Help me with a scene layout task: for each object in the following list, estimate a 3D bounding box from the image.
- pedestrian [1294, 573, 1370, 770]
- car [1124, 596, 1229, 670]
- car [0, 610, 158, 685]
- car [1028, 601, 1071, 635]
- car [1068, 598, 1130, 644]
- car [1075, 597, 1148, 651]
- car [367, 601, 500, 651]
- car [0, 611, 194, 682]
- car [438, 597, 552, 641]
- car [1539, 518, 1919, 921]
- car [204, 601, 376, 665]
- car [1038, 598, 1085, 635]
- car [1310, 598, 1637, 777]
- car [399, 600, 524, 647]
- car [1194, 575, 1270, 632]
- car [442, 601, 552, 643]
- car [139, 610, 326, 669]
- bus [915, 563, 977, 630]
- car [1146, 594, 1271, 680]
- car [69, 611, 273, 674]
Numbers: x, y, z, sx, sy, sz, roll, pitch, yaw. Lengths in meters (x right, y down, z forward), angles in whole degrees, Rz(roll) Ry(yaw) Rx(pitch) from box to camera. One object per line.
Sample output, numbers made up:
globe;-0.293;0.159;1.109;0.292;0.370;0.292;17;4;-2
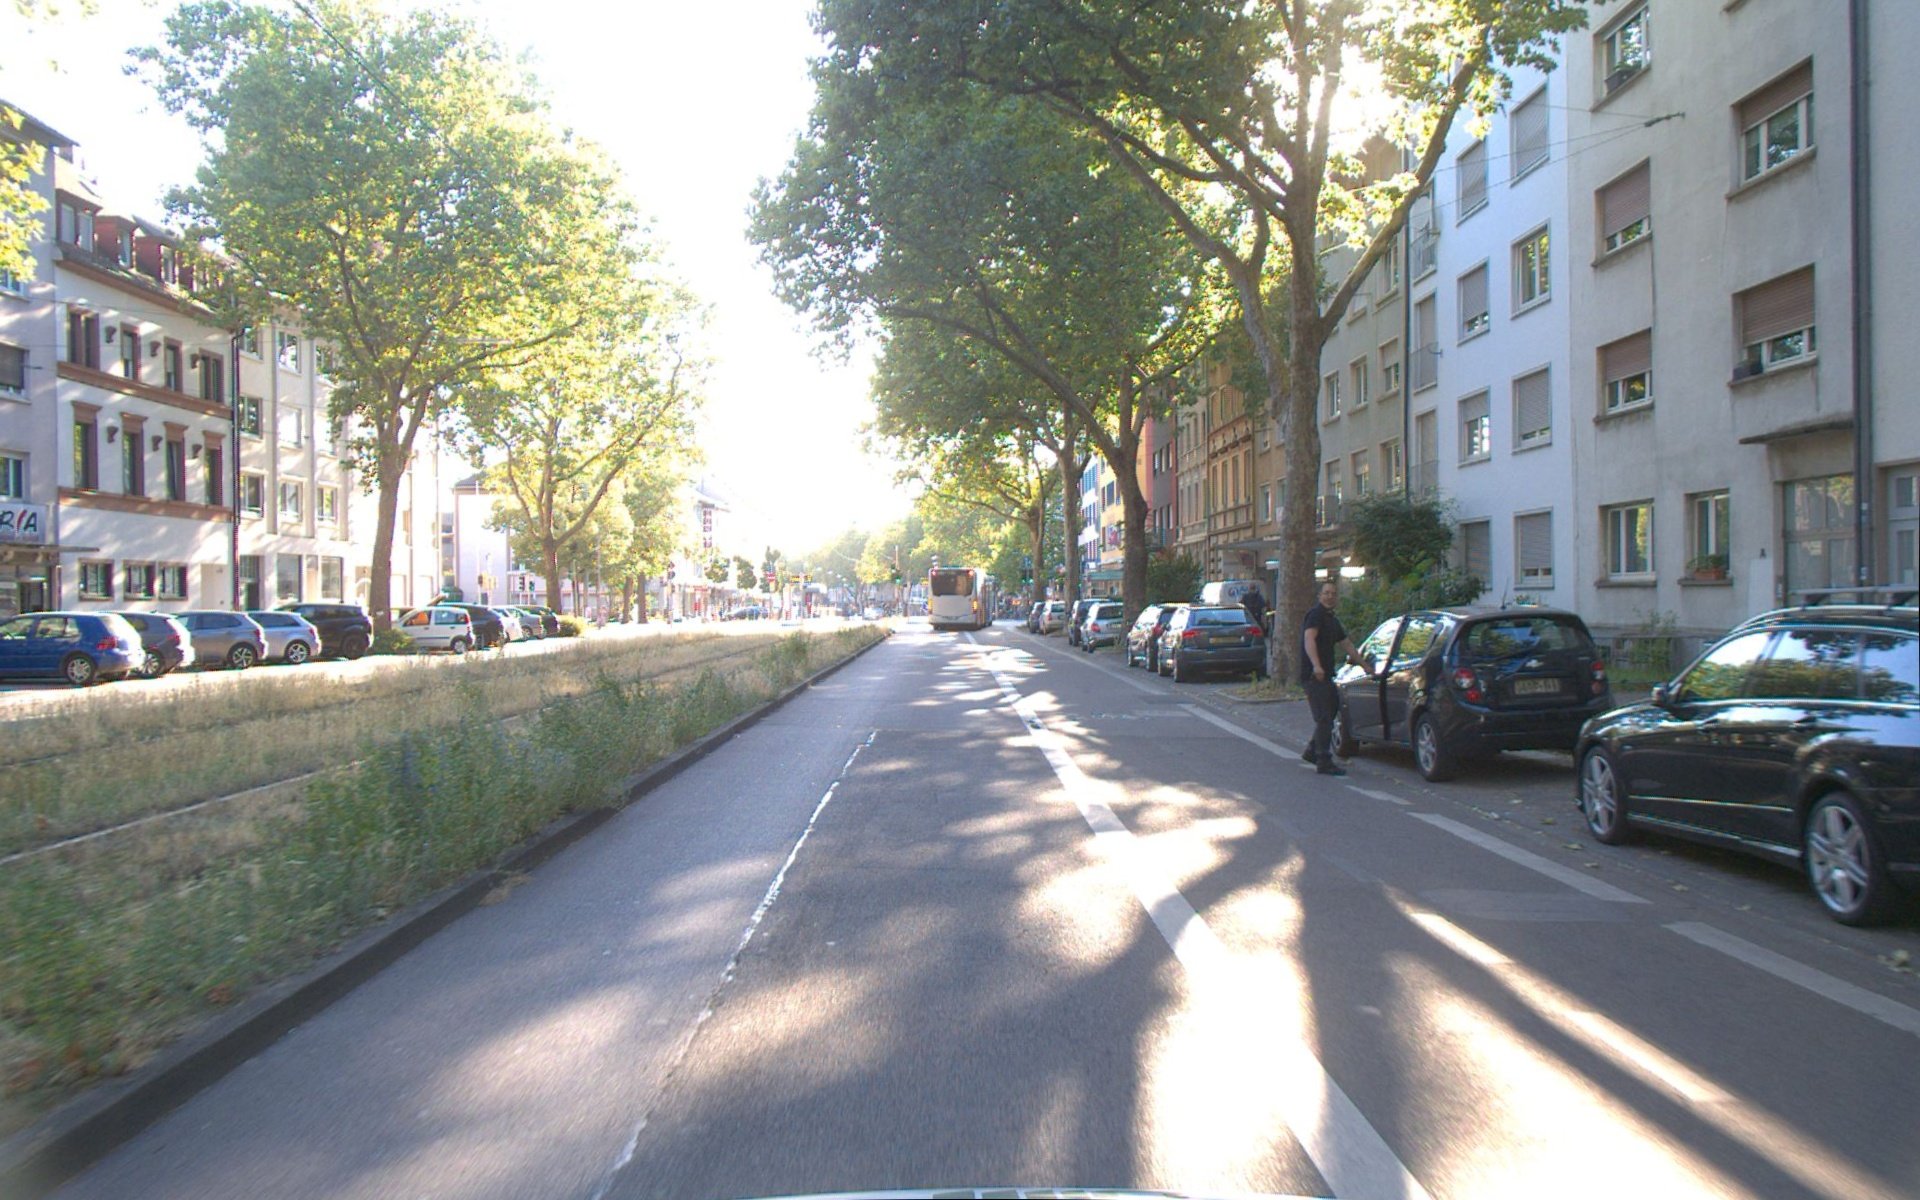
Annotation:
pedestrian;3.497;0.661;15.583;0.565;1.811;0.514;-1;0;-1
car;4.765;0.694;36.940;1.745;1.542;3.999;-1;0;-1
car;-19.255;0.986;34.431;4.216;1.484;1.856;-1;-1;-7
car;4.219;0.819;78.819;1.745;1.542;3.999;-1;0;-1
car;4.810;0.709;57.836;1.745;1.542;3.999;-1;0;-1
car;4.521;0.689;49.702;1.745;1.542;3.999;-1;0;-1
car;-19.003;0.919;59.789;4.275;1.768;1.830;0;-1;-42
car;-19.513;1.020;37.011;4.241;1.484;1.845;0;-1;-24
car;-19.567;0.795;69.714;4.275;1.768;1.830;0;-1;-42
car;5.069;0.551;9.290;1.709;1.801;4.986;-1;-1;-2
car;-19.285;0.918;47.718;4.275;1.768;1.830;0;-1;-42
car;4.406;0.683;72.400;1.745;1.542;3.999;-1;0;-1
car;4.841;0.771;16.200;1.653;1.512;3.995;-1;-1;-5
car;-19.136;0.891;63.598;4.275;1.768;1.830;0;-1;-42
car;9.365;0.139;57.222;1.845;1.892;4.324;-1;-1;-1
car;-20.200;0.942;72.273;4.275;1.768;1.830;0;-1;-42
car;-19.428;1.020;44.271;4.275;1.484;1.830;0;-1;-42
bus;-0.808;-0.144;85.987;2.777;3.292;8.176;-1;-1;-3
car;4.739;0.670;32.055;1.745;1.542;3.999;-1;0;-1
car;-19.551;1.026;41.079;4.275;1.484;1.830;0;-1;-42
